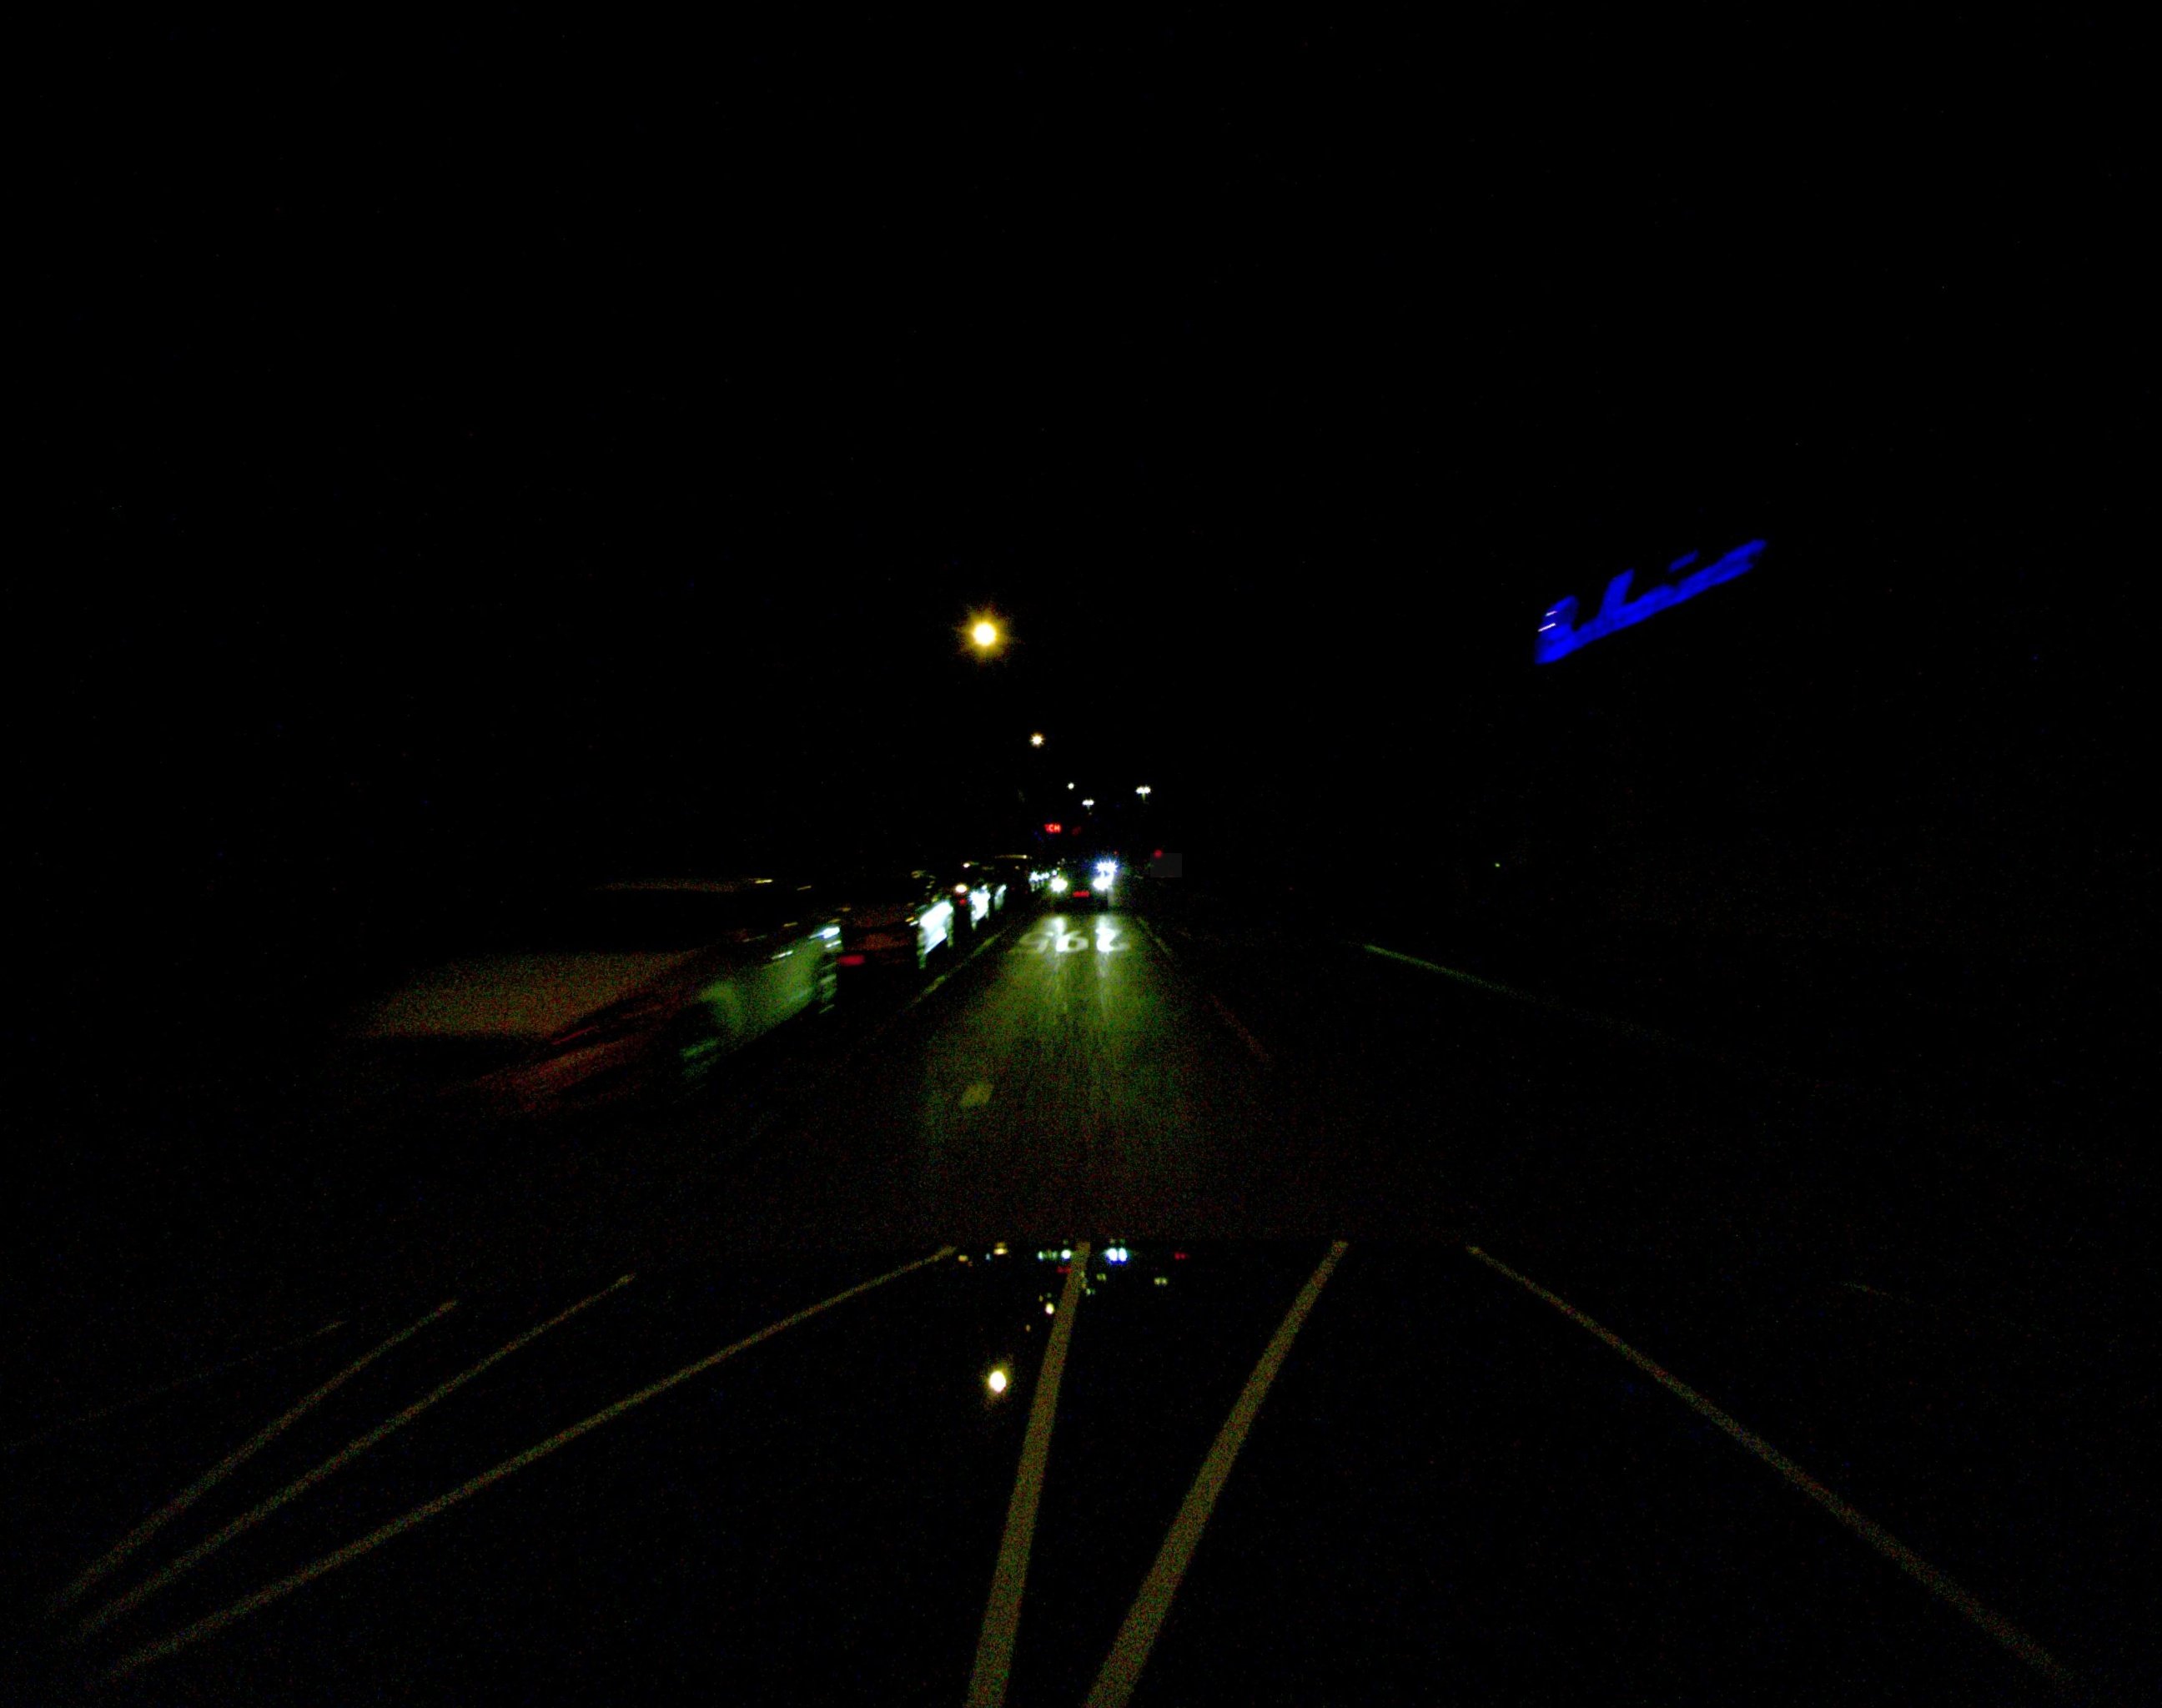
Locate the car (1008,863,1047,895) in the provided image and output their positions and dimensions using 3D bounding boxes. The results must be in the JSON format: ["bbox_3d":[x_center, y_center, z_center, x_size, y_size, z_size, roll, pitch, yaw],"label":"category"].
[{"bbox_3d":[-2.743,1.262,39.394,1.599,1.458,3.892,-1,0,2],"label":"car"}]

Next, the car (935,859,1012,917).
[{"bbox_3d":[-3.145,0.969,23.135,1.828,1.579,4.628,0,-1,-2],"label":"car"}]

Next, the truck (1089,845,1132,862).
[{"bbox_3d":[6.639,-0.038,172.372,9.340,3.700,2.002,-1,0,17],"label":"truck"}]

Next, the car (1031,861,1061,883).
[{"bbox_3d":[-2.463,1.274,55.030,1.783,1.418,4.481,-1,0,2],"label":"car"}]

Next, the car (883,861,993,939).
[{"bbox_3d":[-3.194,0.975,17.890,1.828,1.613,4.458,0,-1,-1],"label":"car"}]

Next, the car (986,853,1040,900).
[{"bbox_3d":[-2.854,0.931,32.788,1.805,1.864,4.774,1,-1,1],"label":"car"}]

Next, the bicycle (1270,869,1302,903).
[{"bbox_3d":[6.821,1.044,25.338,0.621,1.045,1.722,-1,0,2],"label":"bicycle"}]

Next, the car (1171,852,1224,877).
[{"bbox_3d":[9.215,0.836,59.963,3.993,1.878,1.911,-1,0,14],"label":"car"}]

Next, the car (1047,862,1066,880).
[{"bbox_3d":[-2.361,1.614,73.977,1.824,1.589,4.220,2,0,-1],"label":"car"}]

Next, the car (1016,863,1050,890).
[{"bbox_3d":[-2.769,1.264,44.087,1.599,1.458,3.719,-1,0,2],"label":"car"}]

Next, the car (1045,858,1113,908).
[{"bbox_3d":[0.017,0.964,26.607,1.998,1.606,4.002,0,-1,5],"label":"car"}]

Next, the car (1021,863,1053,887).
[{"bbox_3d":[-2.779,1.309,48.659,1.783,1.418,3.892,-1,0,0],"label":"car"}]

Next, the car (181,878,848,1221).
[{"bbox_3d":[-3.428,1.015,5.956,1.865,1.480,4.546,-1,0,-1],"label":"car"}]

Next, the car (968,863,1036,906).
[{"bbox_3d":[-2.791,1.051,27.758,1.820,1.418,4.190,0,-1,3],"label":"car"}]

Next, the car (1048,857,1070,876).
[{"bbox_3d":[-2.241,1.249,79.676,2.077,1.917,5.371,1,0,1],"label":"car"}]

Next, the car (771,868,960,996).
[{"bbox_3d":[-3.160,1.057,12.142,1.779,1.535,4.546,-1,0,-1],"label":"car"}]
